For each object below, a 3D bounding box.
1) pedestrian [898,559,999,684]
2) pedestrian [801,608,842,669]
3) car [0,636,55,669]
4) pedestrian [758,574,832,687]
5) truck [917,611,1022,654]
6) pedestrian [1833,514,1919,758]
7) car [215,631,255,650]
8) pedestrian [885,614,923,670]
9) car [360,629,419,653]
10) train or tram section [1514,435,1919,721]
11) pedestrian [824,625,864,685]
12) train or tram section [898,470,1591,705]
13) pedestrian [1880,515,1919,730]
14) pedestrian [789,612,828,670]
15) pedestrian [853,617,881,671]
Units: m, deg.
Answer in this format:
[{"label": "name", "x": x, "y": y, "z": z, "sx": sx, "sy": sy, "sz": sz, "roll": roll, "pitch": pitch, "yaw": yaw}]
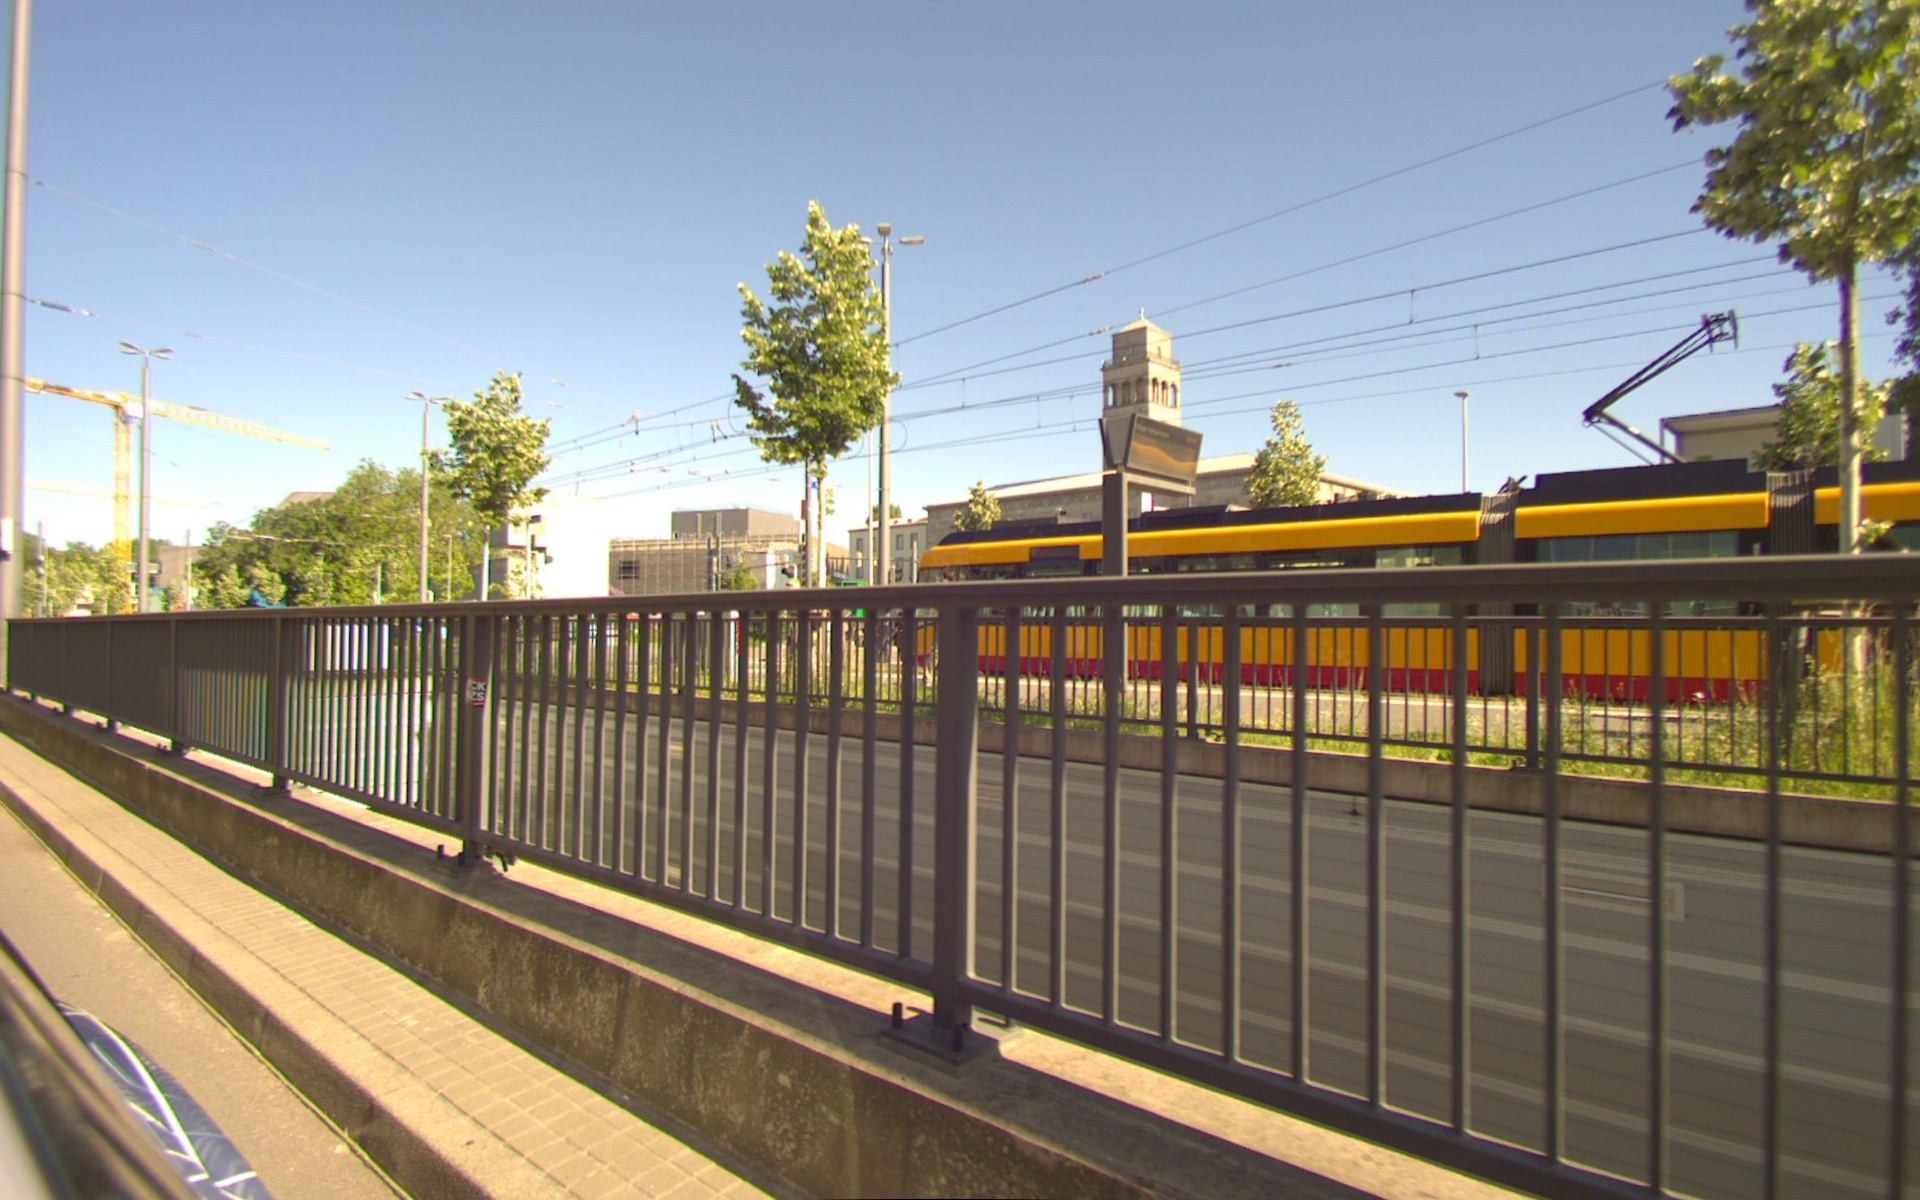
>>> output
[{"label": "pedestrian", "x": -0.174, "y": 0.322, "z": 15.169, "sx": 1.187, "sy": 1.788, "sz": 0.865, "roll": -3, "pitch": -1, "yaw": 38}, {"label": "pedestrian", "x": -4.203, "y": 1.165, "z": 30.699, "sx": 0.975, "sy": 1.837, "sz": 0.792, "roll": -2, "pitch": -3, "yaw": 39}, {"label": "car", "x": -48.655, "y": 2.686, "z": 52.598, "sx": 4.082, "sy": 1.600, "sz": 1.753, "roll": -2, "pitch": -1, "yaw": 38}, {"label": "pedestrian", "x": -2.701, "y": 0.489, "z": 16.536, "sx": 0.958, "sy": 1.788, "sz": 0.696, "roll": -3, "pitch": -1, "yaw": 38}, {"label": "truck", "x": 0.746, "y": 2.251, "z": 70.978, "sx": 7.913, "sy": 2.814, "sz": 2.465, "roll": 1, "pitch": -2, "yaw": -44}, {"label": "pedestrian", "x": 7.330, "y": 0.258, "z": 7.665, "sx": 0.977, "sy": 1.788, "sz": 0.783, "roll": -3, "pitch": -1, "yaw": 38}, {"label": "car", "x": -66.339, "y": 3.700, "z": 92.571, "sx": 4.559, "sy": 1.720, "sz": 1.972, "roll": -2, "pitch": -2, "yaw": 42}, {"label": "pedestrian", "x": -1.875, "y": 1.391, "z": 33.680, "sx": 0.975, "sy": 1.837, "sz": 0.792, "roll": -2, "pitch": -3, "yaw": 39}, {"label": "car", "x": -38.240, "y": 2.731, "z": 67.781, "sx": 4.828, "sy": 1.573, "sz": 1.972, "roll": -2, "pitch": -3, "yaw": 42}, {"label": "train or tram section", "x": 14.981, "y": -0.349, "z": 10.483, "sx": 15.958, "sy": 3.346, "sz": 2.818, "roll": -1, "pitch": 0, "yaw": 41}, {"label": "pedestrian", "x": -3.595, "y": 1.687, "z": 31.400, "sx": 0.975, "sy": 1.837, "sz": 0.792, "roll": -2, "pitch": -3, "yaw": 39}, {"label": "train or tram section", "x": 4.441, "y": -0.052, "z": 19.781, "sx": 13.066, "sy": 3.335, "sz": 2.840, "roll": -2, "pitch": 0, "yaw": 41}, {"label": "pedestrian", "x": 8.425, "y": 0.173, "z": 8.566, "sx": 0.825, "sy": 1.788, "sz": 0.754, "roll": -3, "pitch": -1, "yaw": 38}, {"label": "pedestrian", "x": -4.859, "y": 1.302, "z": 32.420, "sx": 0.975, "sy": 1.837, "sz": 0.792, "roll": -2, "pitch": -3, "yaw": 39}, {"label": "pedestrian", "x": -3.211, "y": 1.501, "z": 34.920, "sx": 0.789, "sy": 1.837, "sz": 0.884, "roll": 0, "pitch": -2, "yaw": -16}]
